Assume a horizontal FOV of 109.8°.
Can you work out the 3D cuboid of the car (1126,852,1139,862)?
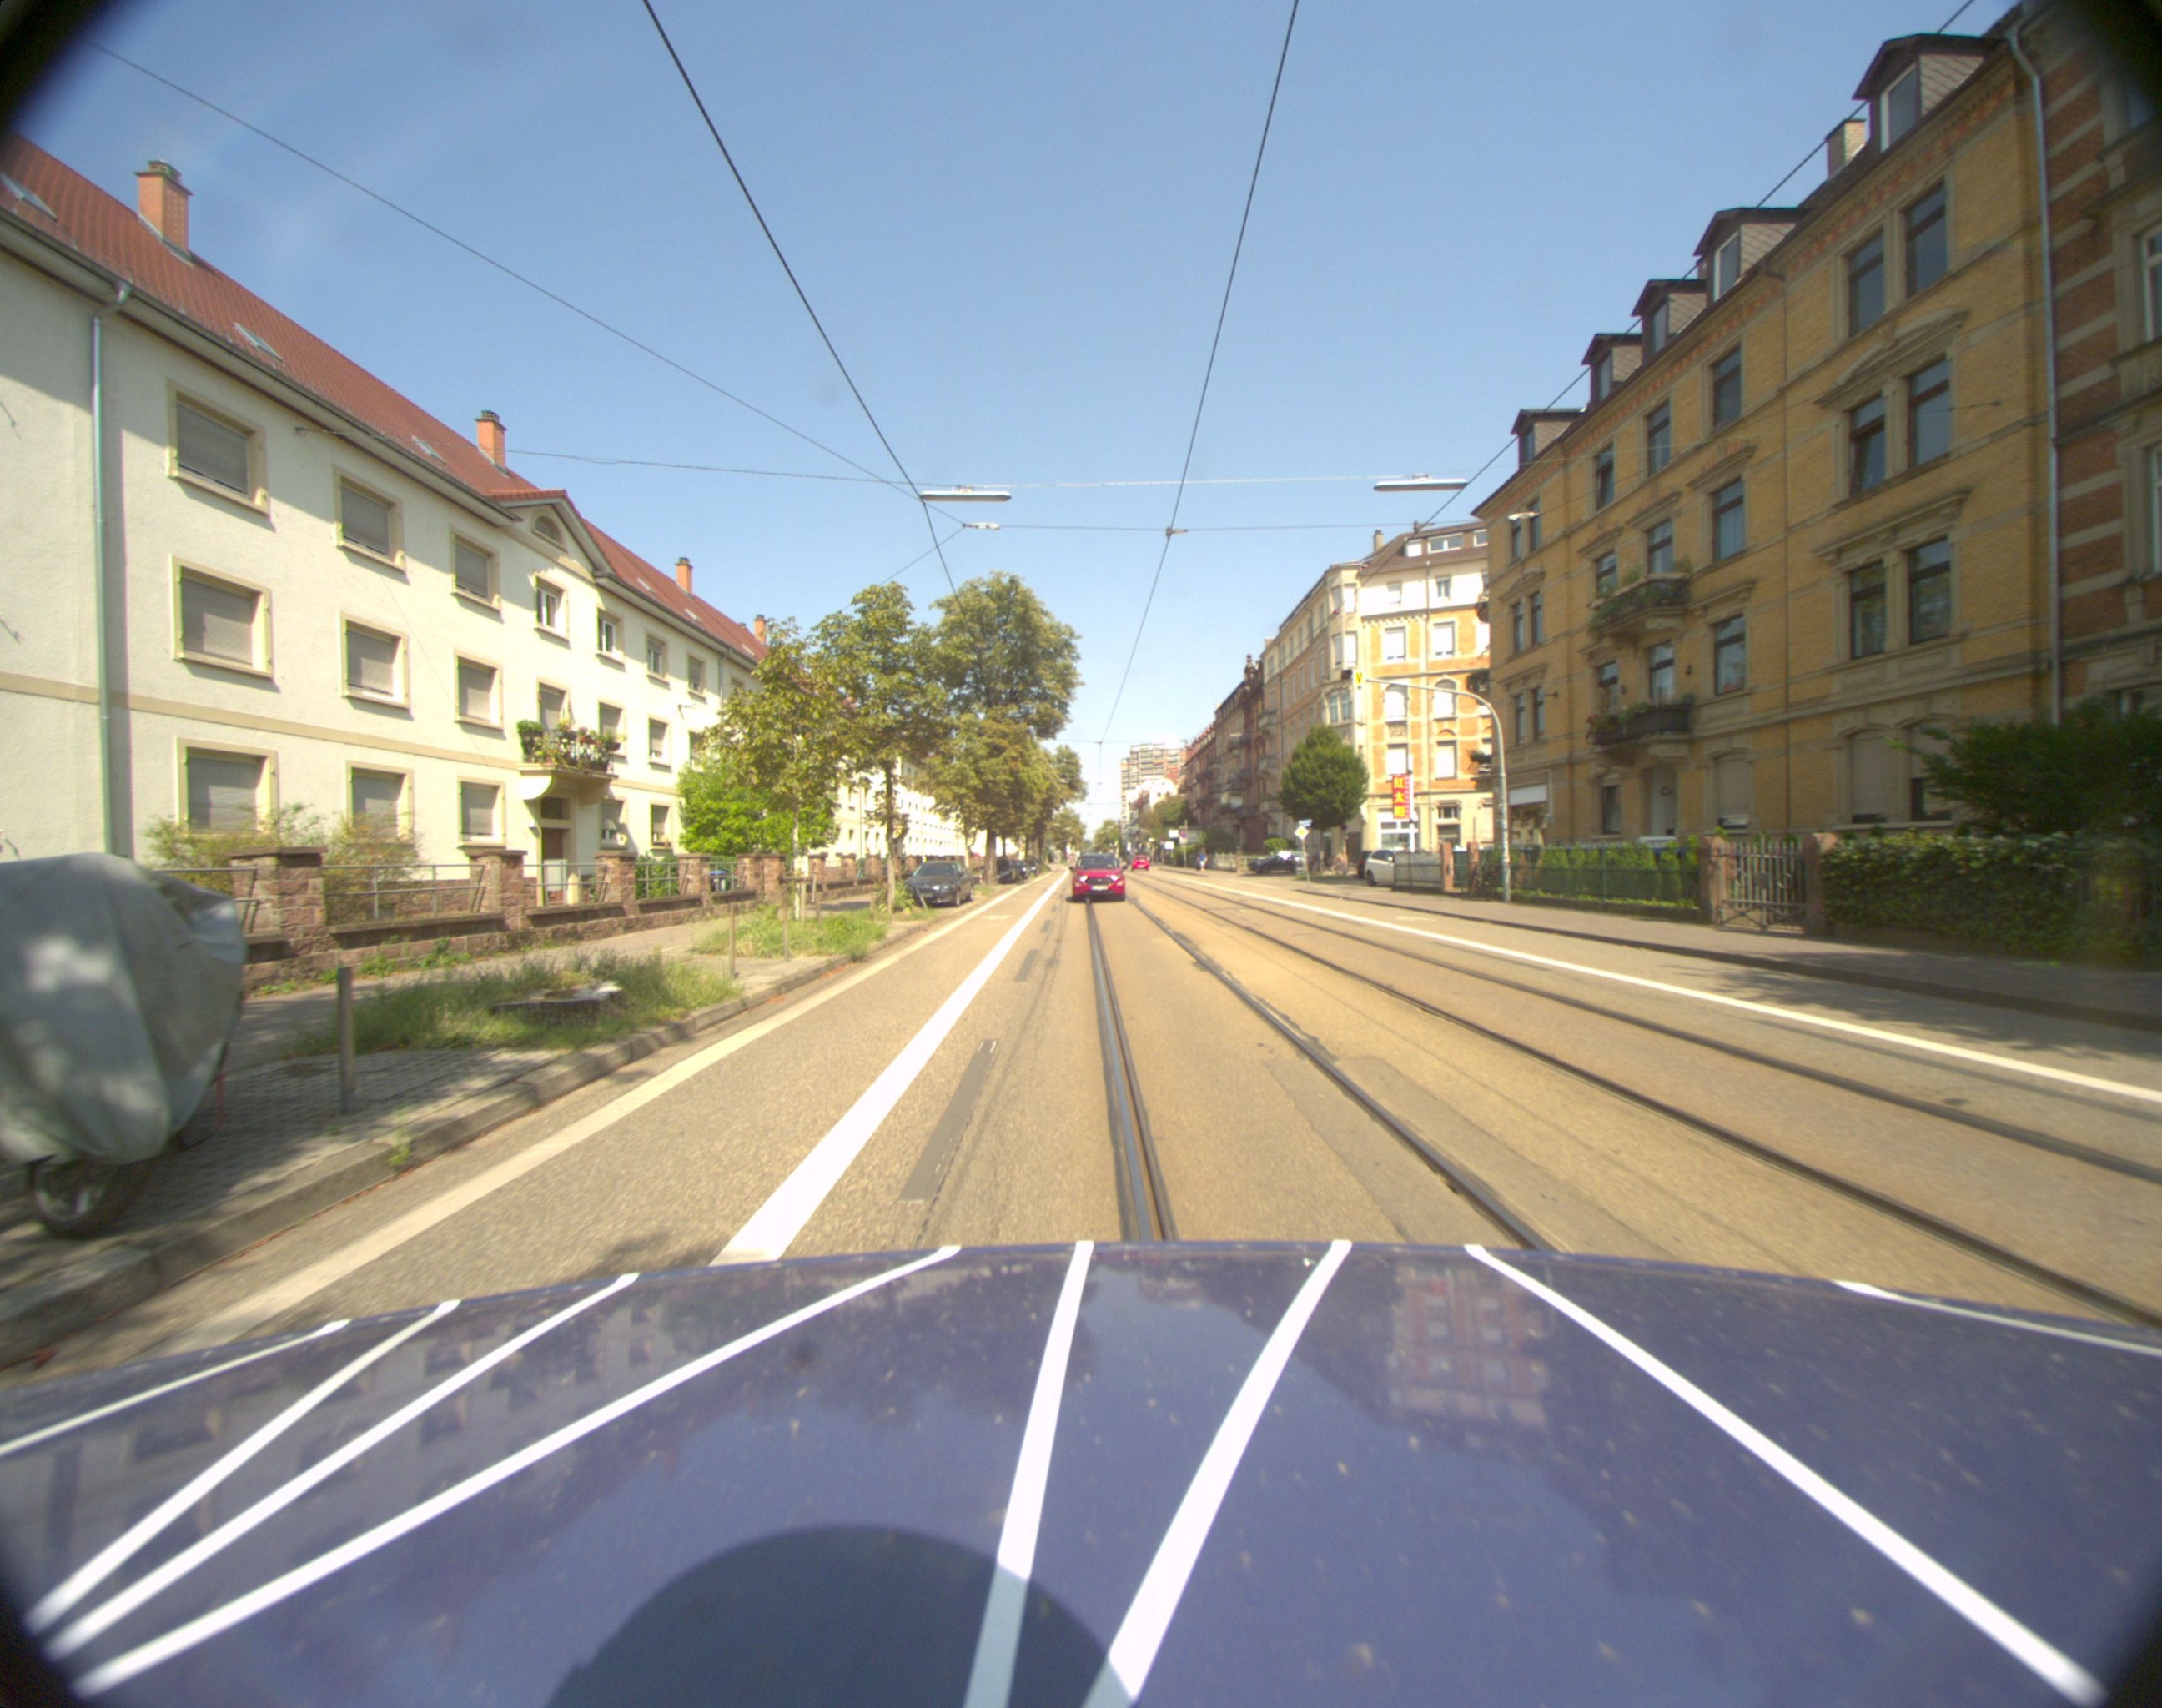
[{"bbox_3d":[7.996,0.451,118.246,1.832,1.531,4.000,-1,0,0],"label":"car"}]

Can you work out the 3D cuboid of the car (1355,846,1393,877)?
[{"bbox_3d":[17.273,0.413,44.810,1.995,1.679,4.366,-1,0,21],"label":"car"}]

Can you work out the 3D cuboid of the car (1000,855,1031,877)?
[{"bbox_3d":[-4.722,0.849,55.352,1.760,1.469,4.457,2,0,0],"label":"car"}]

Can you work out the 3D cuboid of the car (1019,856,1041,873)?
[{"bbox_3d":[-4.380,0.907,66.154,1.621,1.468,4.039,0,0,0],"label":"car"}]

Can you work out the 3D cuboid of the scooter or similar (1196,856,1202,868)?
[{"bbox_3d":[10.150,0.668,65.373,0.401,0.977,0.584,-3,1,-8],"label":"scooter or similar"}]

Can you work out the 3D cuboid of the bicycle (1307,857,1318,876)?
[{"bbox_3d":[14.179,0.756,46.467,0.389,1.092,1.454,-2,0,25],"label":"bicycle"}]

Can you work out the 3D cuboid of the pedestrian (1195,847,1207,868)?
[{"bbox_3d":[10.280,0.291,65.009,0.885,1.745,0.870,-1,0,0],"label":"pedestrian"}]

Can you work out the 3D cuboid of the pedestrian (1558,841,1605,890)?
[{"bbox_3d":[15.859,0.364,24.107,0.870,1.502,0.885,-1,0,-8],"label":"pedestrian"}]

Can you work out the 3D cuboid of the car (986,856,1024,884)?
[{"bbox_3d":[-4.373,0.891,44.196,1.760,1.468,4.386,-1,0,-1],"label":"car"}]

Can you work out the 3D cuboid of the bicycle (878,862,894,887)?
[{"bbox_3d":[-9.930,1.026,38.721,0.403,1.250,1.580,-1,0,0],"label":"bicycle"}]

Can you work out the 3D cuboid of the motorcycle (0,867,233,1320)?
[{"bbox_3d":[-4.710,0.879,3.523,2.339,1.531,0.971,2,3,41],"label":"motorcycle"}]

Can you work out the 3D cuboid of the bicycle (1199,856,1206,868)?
[{"bbox_3d":[11.074,0.726,69.121,0.391,1.141,1.582,-1,0,1],"label":"bicycle"}]

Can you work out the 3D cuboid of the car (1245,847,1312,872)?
[{"bbox_3d":[13.572,0.382,52.460,4.111,1.585,1.879,-2,0,2],"label":"car"}]

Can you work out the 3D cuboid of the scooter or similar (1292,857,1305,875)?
[{"bbox_3d":[13.324,0.713,46.517,0.597,1.092,1.390,-2,0,10],"label":"scooter or similar"}]

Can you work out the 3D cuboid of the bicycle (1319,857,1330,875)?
[{"bbox_3d":[14.788,0.713,46.091,0.389,1.092,1.454,-2,0,25],"label":"bicycle"}]

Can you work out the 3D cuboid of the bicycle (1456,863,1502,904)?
[{"bbox_3d":[10.972,0.789,20.983,0.391,1.092,1.568,-1,0,-2],"label":"bicycle"}]

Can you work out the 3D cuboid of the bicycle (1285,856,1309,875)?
[{"bbox_3d":[13.613,0.725,47.855,1.453,1.092,0.390,-2,0,-22],"label":"bicycle"}]

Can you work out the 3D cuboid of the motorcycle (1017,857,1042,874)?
[{"bbox_3d":[-4.200,0.915,62.119,2.009,1.360,0.782,-1,0,-3],"label":"motorcycle"}]

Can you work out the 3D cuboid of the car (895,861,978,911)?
[{"bbox_3d":[-4.782,0.999,25.852,1.897,1.468,4.840,-1,0,0],"label":"car"}]

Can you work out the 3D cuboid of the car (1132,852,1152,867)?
[{"bbox_3d":[6.165,0.517,77.256,1.736,1.481,4.000,-1,0,0],"label":"car"}]

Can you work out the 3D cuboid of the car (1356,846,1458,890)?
[{"bbox_3d":[12.916,0.524,30.448,1.999,1.585,4.358,-1,0,-3],"label":"car"}]

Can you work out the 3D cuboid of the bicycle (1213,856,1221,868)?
[{"bbox_3d":[11.292,0.668,63.111,0.391,1.032,1.833,-1,0,1],"label":"bicycle"}]

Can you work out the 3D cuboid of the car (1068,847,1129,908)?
[{"bbox_3d":[0.584,0.746,25.202,1.803,1.801,4.417,-1,-1,2],"label":"car"}]

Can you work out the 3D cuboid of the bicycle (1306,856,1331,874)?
[{"bbox_3d":[15.086,0.694,48.251,1.449,1.092,0.391,-2,0,11],"label":"bicycle"}]

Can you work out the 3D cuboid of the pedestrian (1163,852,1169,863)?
[{"bbox_3d":[17.160,0.692,153.321,1.094,2.002,1.036,-2,1,0],"label":"pedestrian"}]
